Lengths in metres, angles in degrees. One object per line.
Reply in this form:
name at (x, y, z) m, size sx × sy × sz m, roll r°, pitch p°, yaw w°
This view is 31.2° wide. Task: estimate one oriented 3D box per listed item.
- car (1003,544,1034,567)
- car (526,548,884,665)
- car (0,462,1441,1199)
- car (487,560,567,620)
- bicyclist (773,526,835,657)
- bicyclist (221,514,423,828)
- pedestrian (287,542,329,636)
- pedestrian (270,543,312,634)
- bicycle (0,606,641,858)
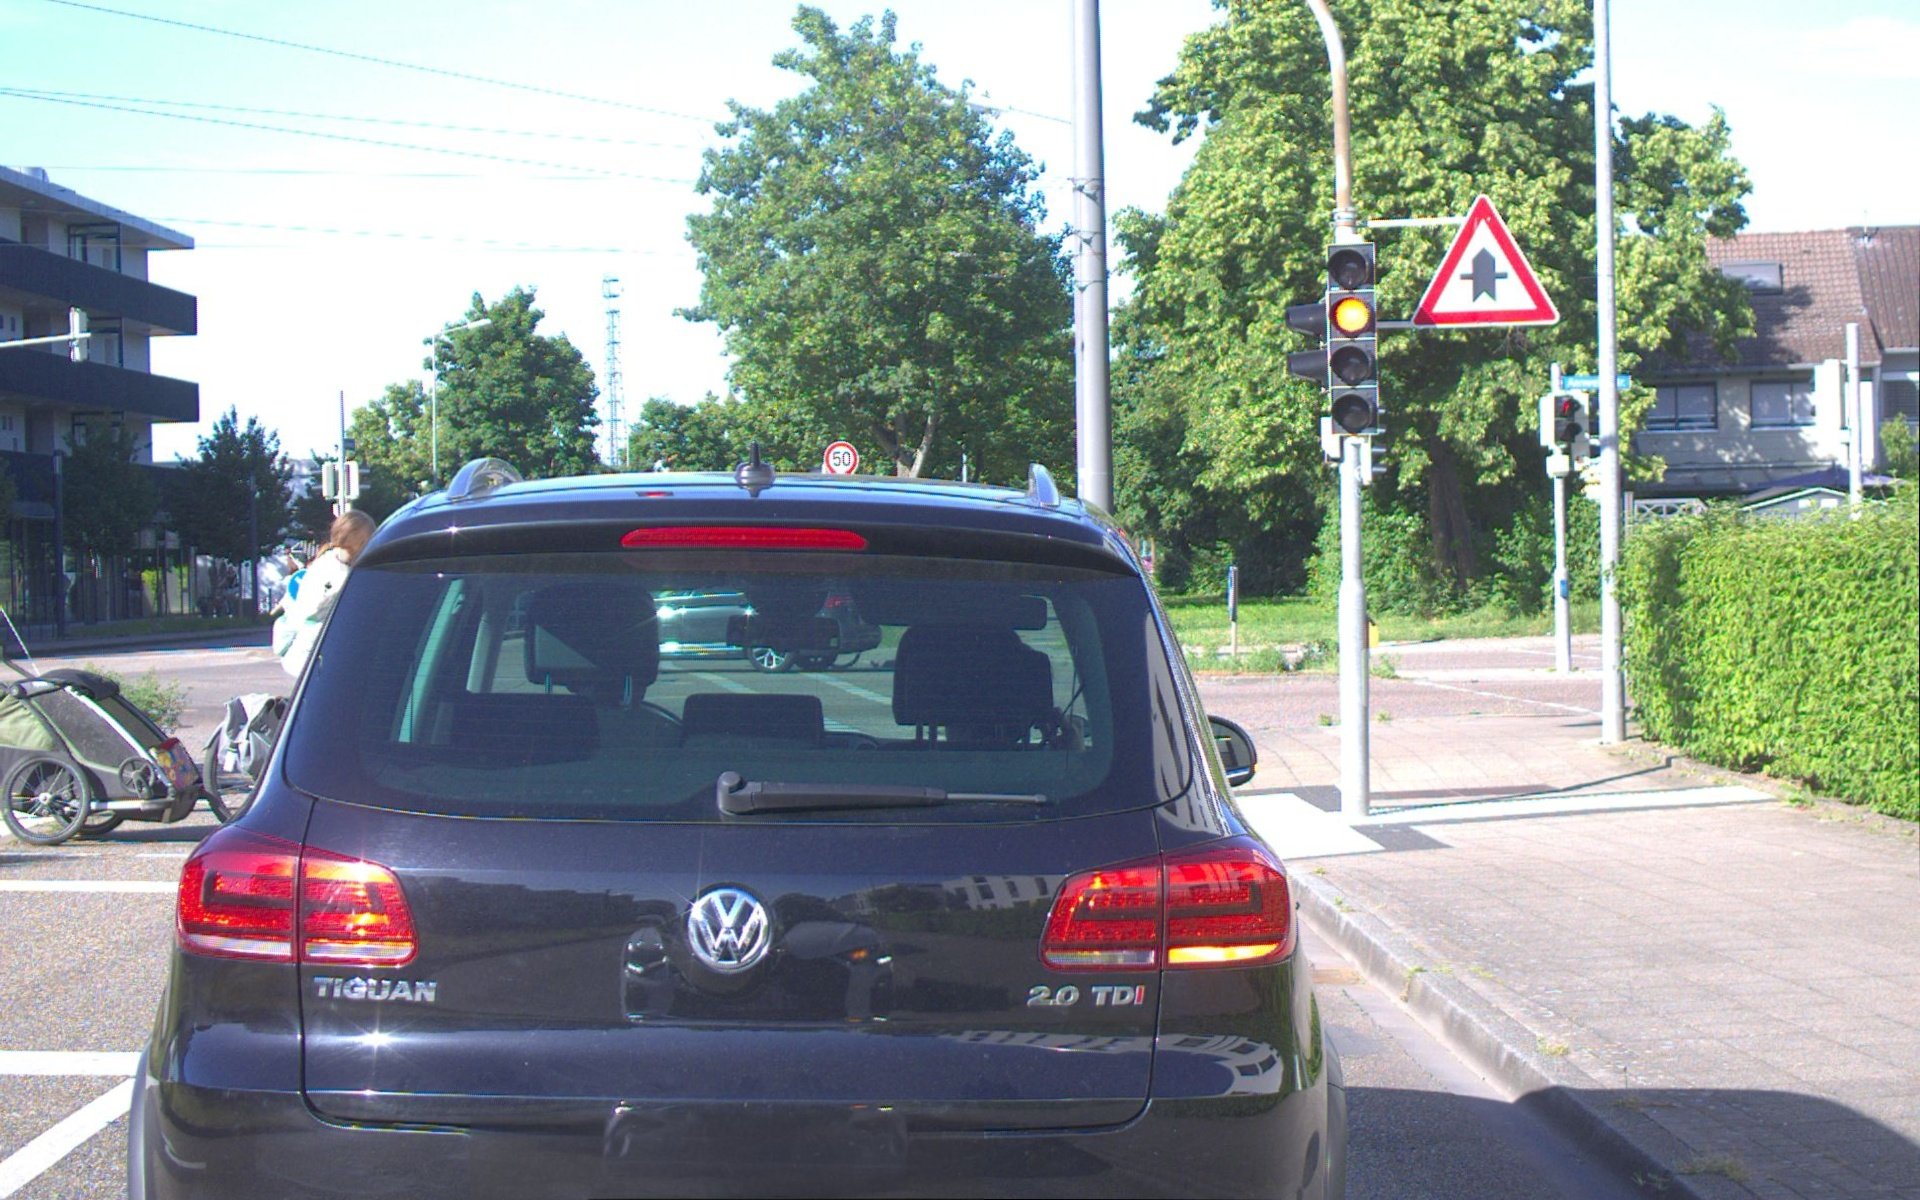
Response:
car at (3.672, -2.801, 215.307) m, size 1.751 × 1.382 × 4.000 m, roll 0°, pitch 1°, yaw -2°
car at (-3.337, 0.067, 45.544) m, size 4.498 × 1.499 × 2.000 m, roll 0°, pitch 1°, yaw 4°
car at (-0.392, 0.608, 6.489) m, size 1.905 × 1.637 × 4.000 m, roll 0°, pitch 1°, yaw -2°
car at (-12.189, -0.306, 96.885) m, size 1.656 × 1.634 × 4.000 m, roll 0°, pitch 1°, yaw 1°
bicyclist at (-2.173, -0.121, 47.935) m, size 0.803 × 1.800 × 0.684 m, roll 0°, pitch 1°, yaw 3°
bicyclist at (-3.384, 0.360, 18.315) m, size 0.909 × 1.624 × 0.976 m, roll 0°, pitch 1°, yaw -1°
pedestrian at (-11.444, -0.200, 60.336) m, size 0.603 × 1.634 × 0.529 m, roll 0°, pitch 1°, yaw 4°
pedestrian at (-11.599, -0.199, 59.614) m, size 0.603 × 1.559 × 0.529 m, roll 0°, pitch 1°, yaw 4°
bicycle at (-3.597, 0.682, 18.334) m, size 3.682 × 1.170 × 0.999 m, roll 2°, pitch 1°, yaw -2°
